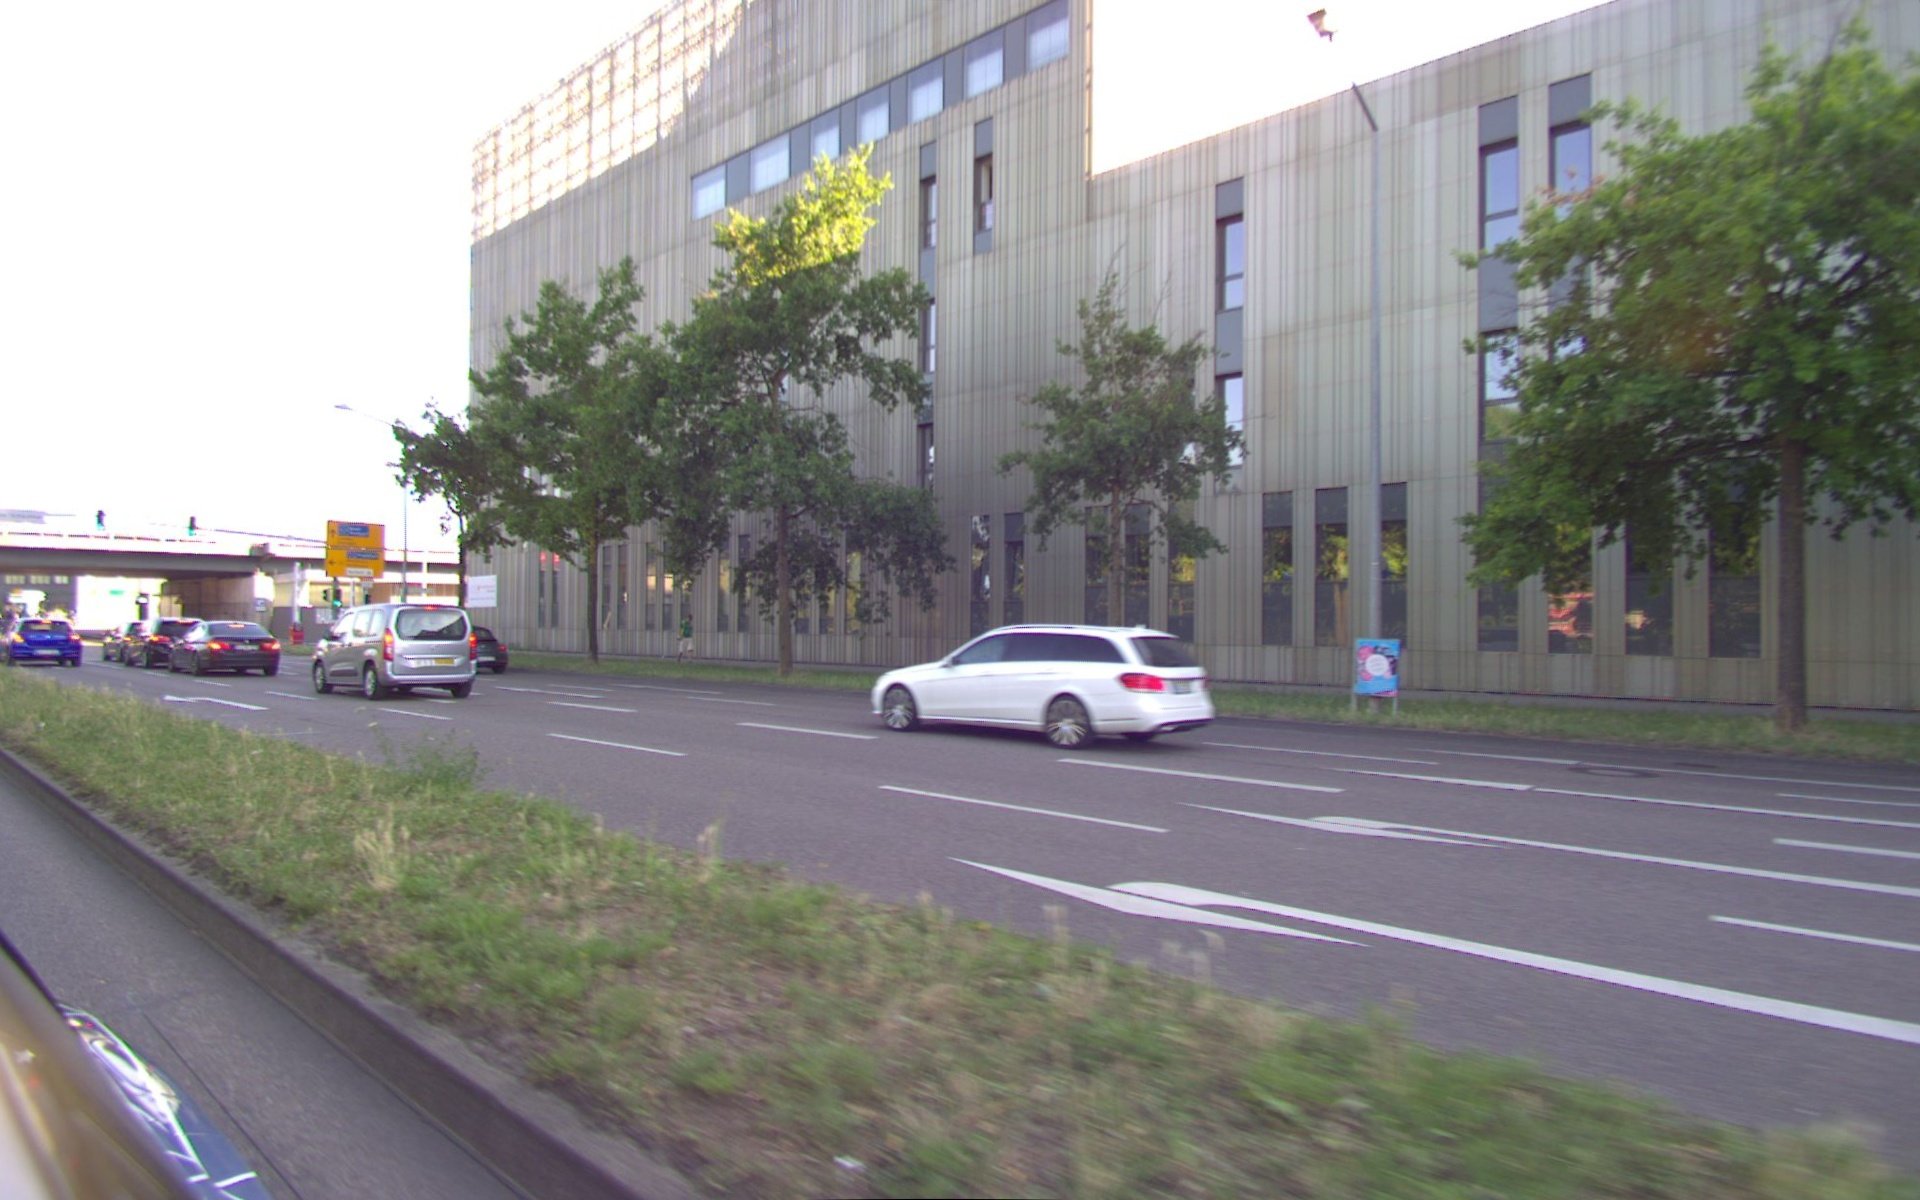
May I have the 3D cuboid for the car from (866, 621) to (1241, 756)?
[{"bbox_3d":[1.081,1.049,13.424,4.813,1.484,1.826,-1,-3,42],"label":"car"}]

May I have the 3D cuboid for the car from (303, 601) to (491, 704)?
[{"bbox_3d":[-11.320,0.991,20.213,4.400,1.830,1.972,-1,-3,43],"label":"car"}]

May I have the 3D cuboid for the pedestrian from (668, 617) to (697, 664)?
[{"bbox_3d":[-9.728,1.414,35.525,0.725,1.641,0.689,-1,-2,41],"label":"pedestrian"}]

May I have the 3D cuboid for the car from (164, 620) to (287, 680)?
[{"bbox_3d":[-20.271,1.329,27.886,4.290,1.530,1.904,-1,-3,43],"label":"car"}]

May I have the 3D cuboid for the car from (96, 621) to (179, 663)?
[{"bbox_3d":[-29.537,1.487,36.315,3.770,1.444,1.673,-1,-2,41],"label":"car"}]

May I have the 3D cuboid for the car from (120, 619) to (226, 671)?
[{"bbox_3d":[-24.759,1.384,31.797,3.998,1.530,1.905,-1,-2,41],"label":"car"}]

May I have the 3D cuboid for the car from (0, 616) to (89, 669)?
[{"bbox_3d":[-28.477,1.279,31.221,3.949,1.530,1.817,-1,-2,40],"label":"car"}]

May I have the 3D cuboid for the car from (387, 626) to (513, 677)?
[{"bbox_3d":[-16.040,1.567,31.751,4.398,1.468,1.973,-1,-2,41],"label":"car"}]

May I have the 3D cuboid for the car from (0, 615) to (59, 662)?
[{"bbox_3d":[-33.894,1.369,36.318,4.000,1.617,1.904,-1,-3,43],"label":"car"}]
